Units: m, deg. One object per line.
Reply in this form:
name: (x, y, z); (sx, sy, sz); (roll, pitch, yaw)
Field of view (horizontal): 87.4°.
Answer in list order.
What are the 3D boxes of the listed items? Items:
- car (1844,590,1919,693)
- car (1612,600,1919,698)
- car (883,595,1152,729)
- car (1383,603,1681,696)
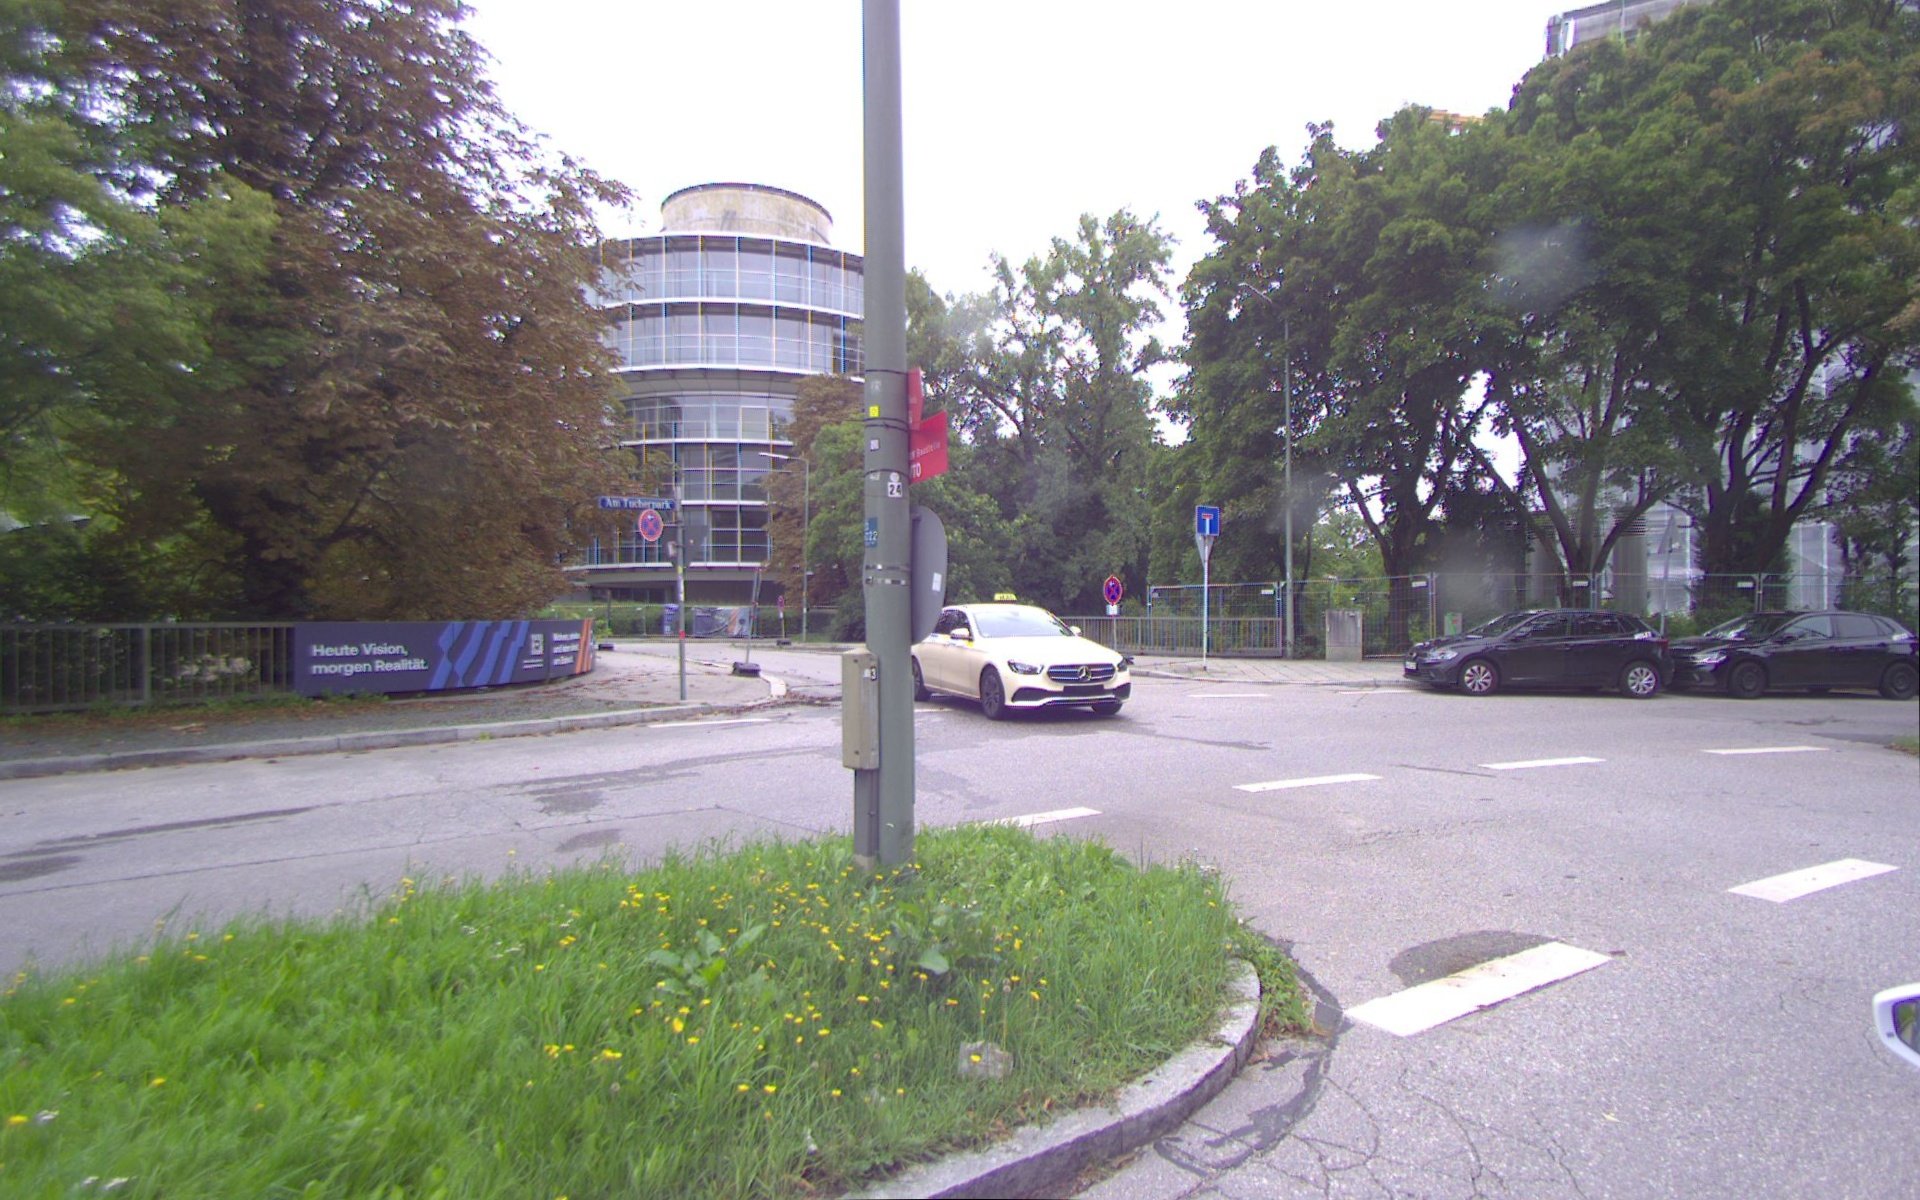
car: (18.196, 0.717, 17.415); (3.920, 1.728, 2.001); (0, -1, 2)
car: (13.752, 0.806, 17.145); (3.920, 1.561, 2.001); (0, -1, 2)
car: (0.577, 0.753, 14.336); (1.867, 1.566, 4.825); (0, -1, -24)
car: (9.658, 0.803, 17.255); (3.961, 1.452, 2.000); (0, 1, 3)
